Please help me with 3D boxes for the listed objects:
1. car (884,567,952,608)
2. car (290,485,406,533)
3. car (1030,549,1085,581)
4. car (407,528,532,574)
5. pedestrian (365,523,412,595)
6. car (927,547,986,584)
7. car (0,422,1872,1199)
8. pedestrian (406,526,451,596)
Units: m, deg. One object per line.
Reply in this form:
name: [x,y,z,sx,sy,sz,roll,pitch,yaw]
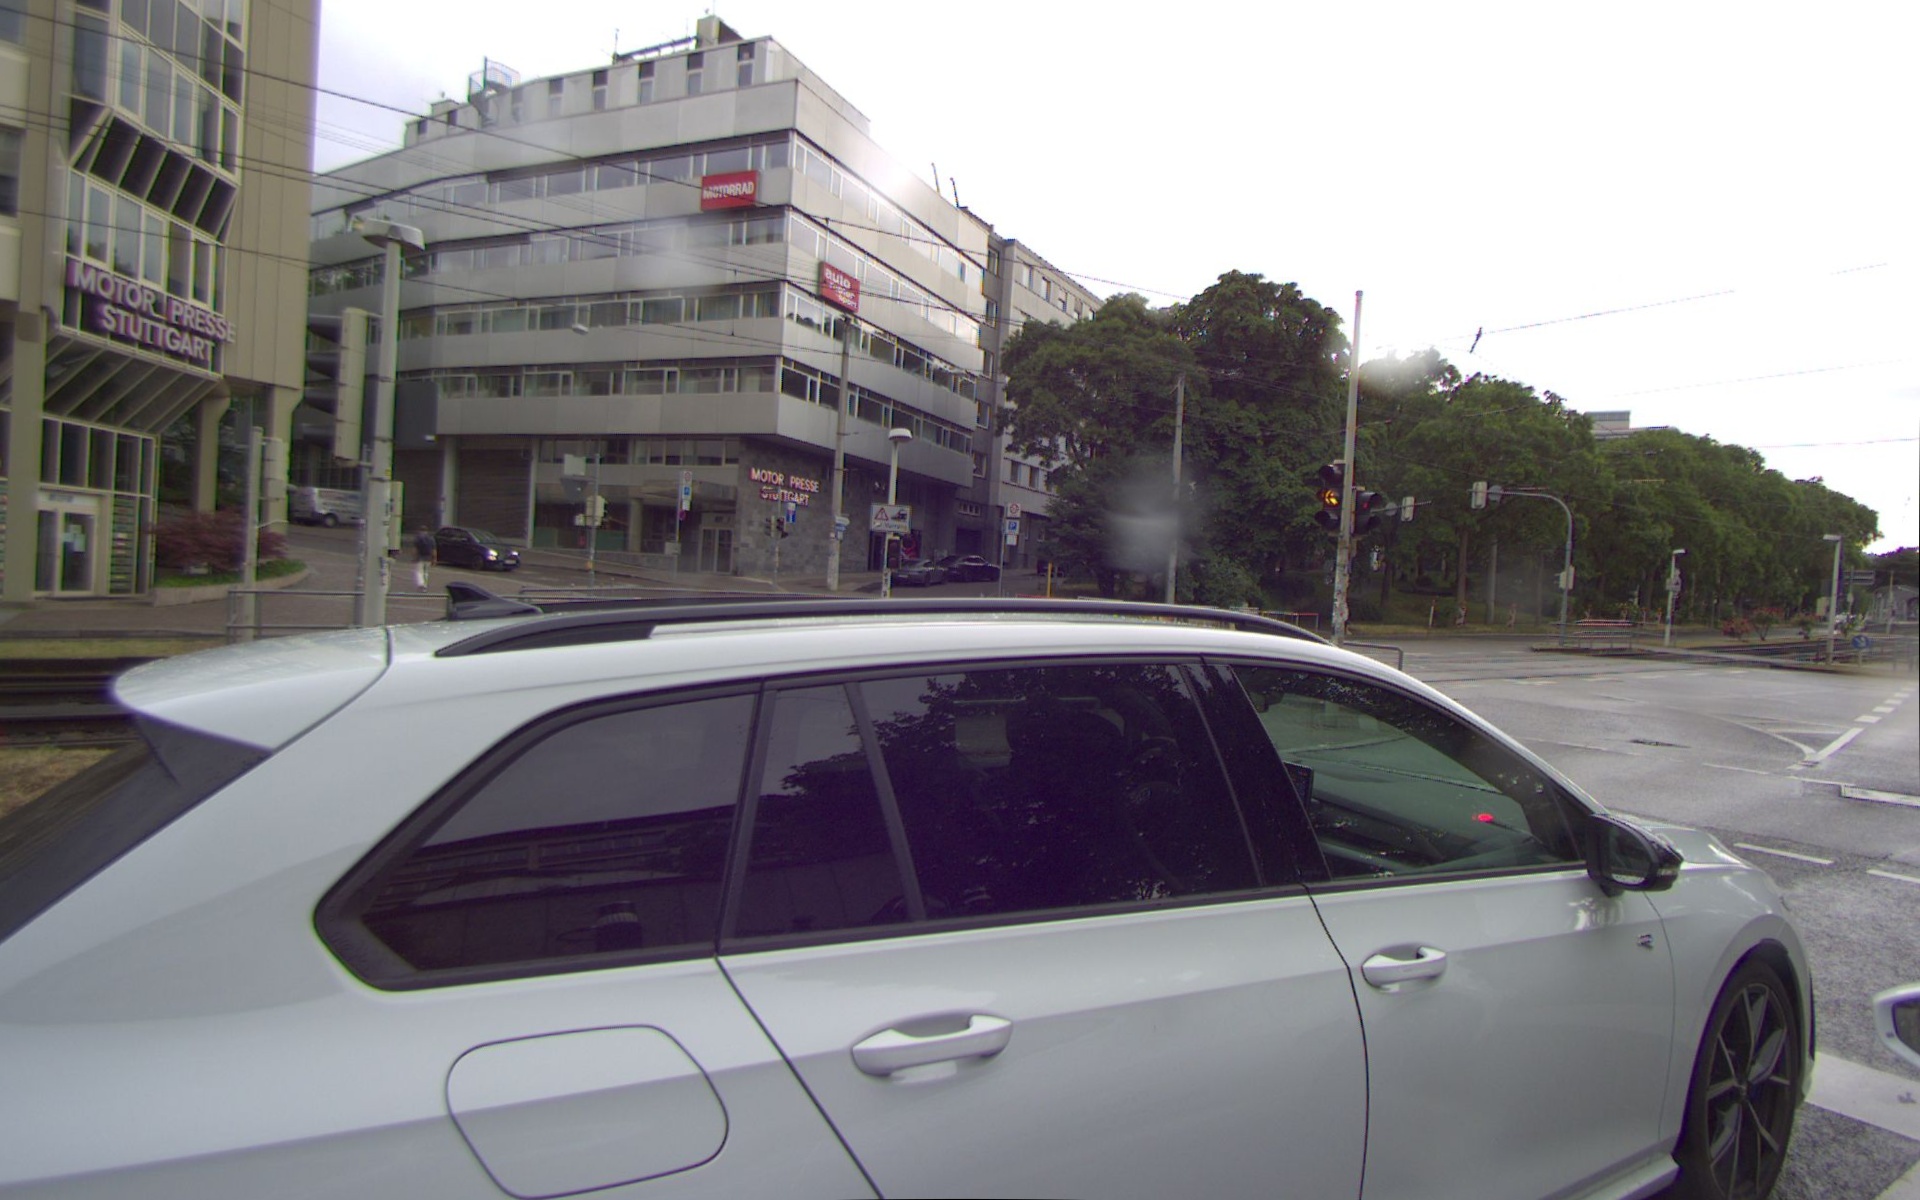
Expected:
car: [-2.069,-0.639,50.761,1.961,1.818,4.000,5,2,19]
car: [-32.065,-4.761,52.767,1.963,2.040,4.831,5,2,26]
car: [6.431,-2.288,65.905,1.964,1.818,4.202,6,2,30]
car: [-18.189,-1.800,37.273,3.920,1.383,1.830,5,2,16]
pedestrian: [-14.973,-1.067,26.316,0.630,1.811,0.808,6,3,36]
car: [-0.164,-1.948,55.621,1.961,1.818,3.998,5,5,19]
car: [0.107,0.673,2.258,4.203,1.597,1.670,2,1,-31]
pedestrian: [-14.356,-1.049,27.136,0.630,1.811,0.808,6,3,36]
